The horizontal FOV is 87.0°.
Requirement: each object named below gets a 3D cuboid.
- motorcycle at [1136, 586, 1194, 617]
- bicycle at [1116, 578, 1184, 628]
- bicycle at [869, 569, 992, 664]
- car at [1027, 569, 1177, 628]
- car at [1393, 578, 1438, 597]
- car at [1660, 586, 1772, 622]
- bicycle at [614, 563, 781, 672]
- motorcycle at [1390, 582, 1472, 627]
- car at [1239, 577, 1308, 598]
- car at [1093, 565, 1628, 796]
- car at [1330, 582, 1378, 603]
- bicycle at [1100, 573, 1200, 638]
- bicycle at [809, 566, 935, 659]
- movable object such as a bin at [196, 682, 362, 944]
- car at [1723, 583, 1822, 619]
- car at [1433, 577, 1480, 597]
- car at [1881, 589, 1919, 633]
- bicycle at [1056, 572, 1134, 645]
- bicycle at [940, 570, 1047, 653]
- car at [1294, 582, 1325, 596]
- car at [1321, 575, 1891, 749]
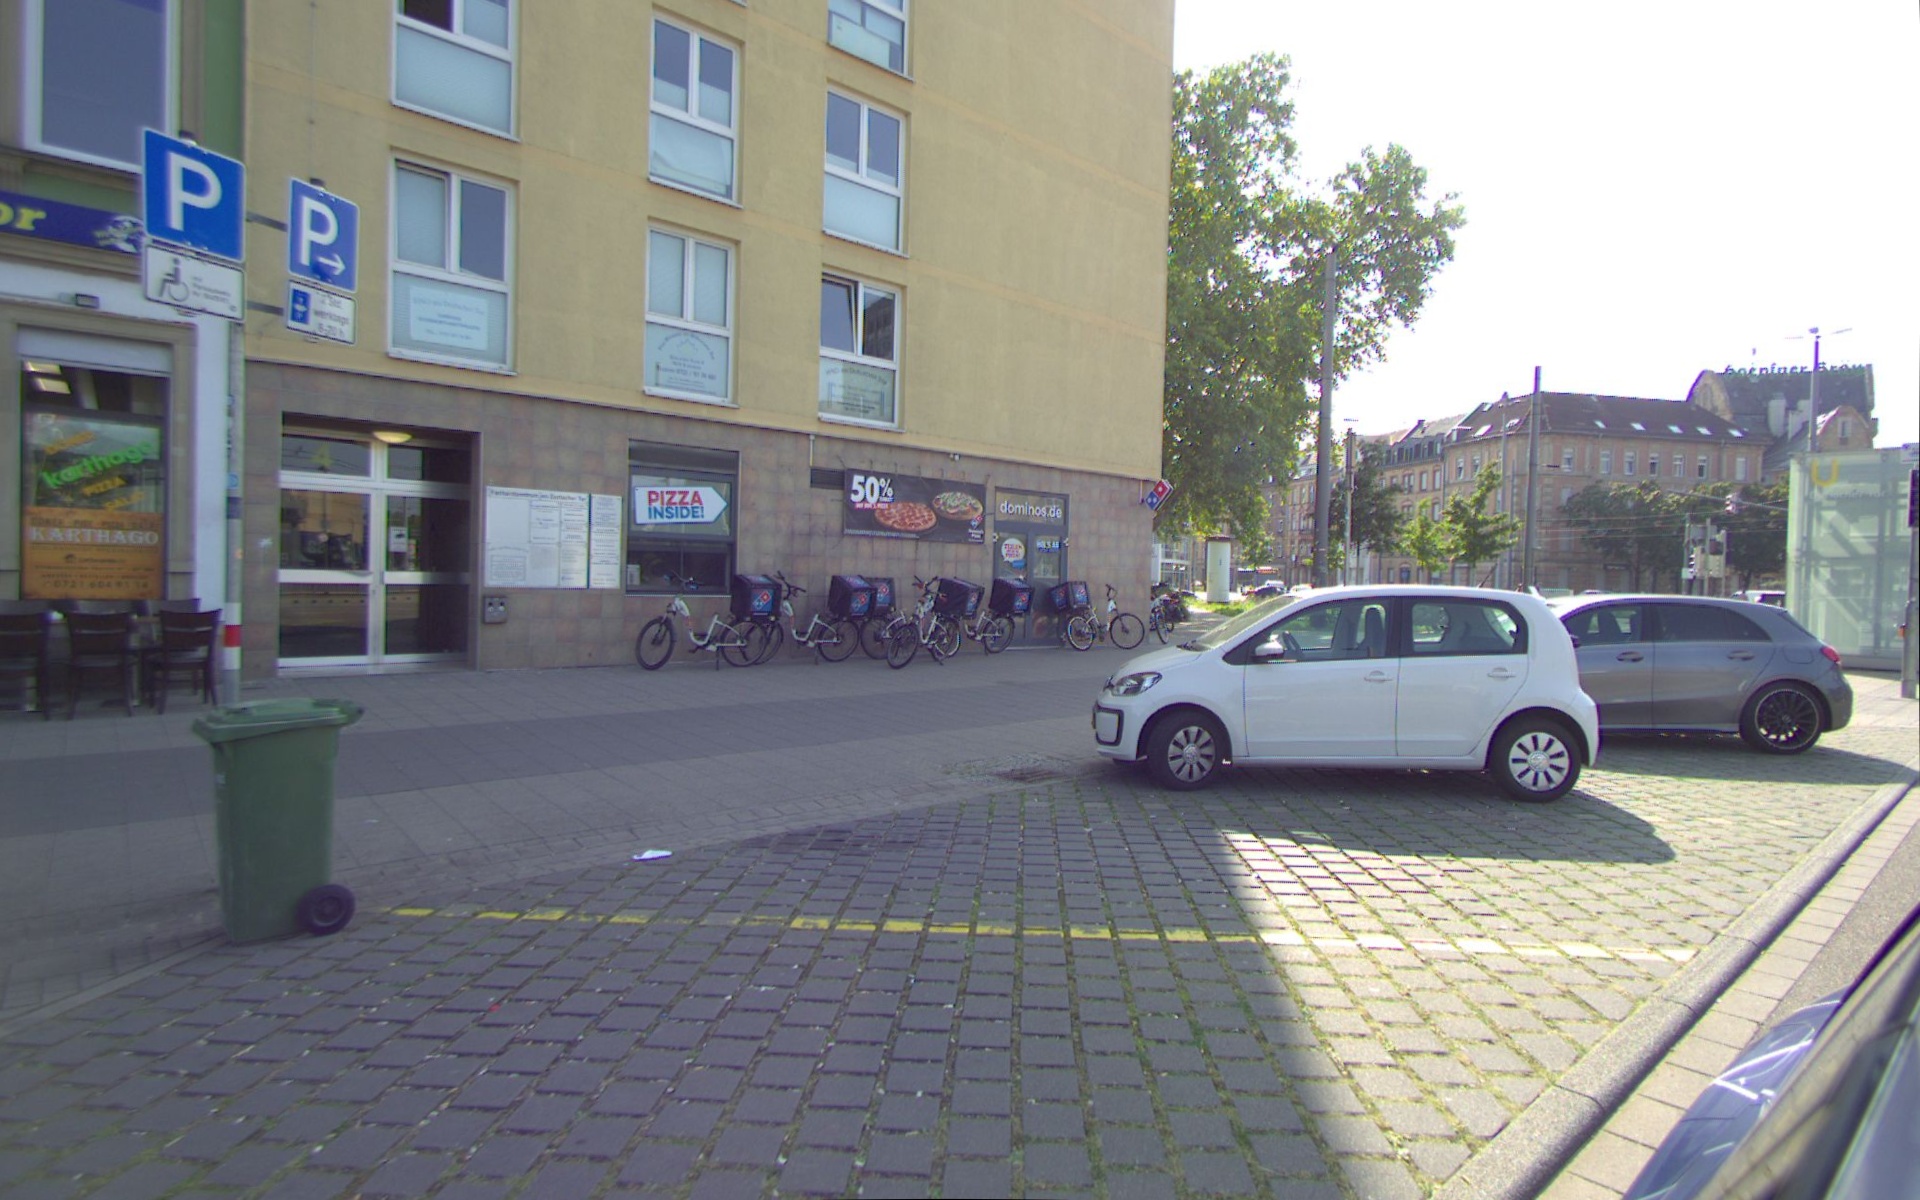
[{"bbox_3d":[7.168,0.051,35.442,1.916,1.014,0.707,1,1,-25],"label":"motorcycle"},{"bbox_3d":[4.973,0.062,26.385,0.523,1.250,2.264,3,2,44],"label":"bicycle"},{"bbox_3d":[-0.394,0.218,14.655,0.602,1.277,1.968,3,2,41],"label":"bicycle"},{"bbox_3d":[3.894,-0.060,27.402,4.120,1.459,1.660,0,2,-40],"label":"car"},{"bbox_3d":[43.667,-1.240,97.085,1.777,1.644,4.297,3,1,-9],"label":"car"},{"bbox_3d":[34.640,0.170,46.490,1.766,1.459,3.912,1,2,-10],"label":"car"},{"bbox_3d":[-3.294,0.200,12.833,1.963,1.277,0.603,0,2,-41],"label":"bicycle"},{"bbox_3d":[12.833,0.126,27.551,2.253,1.161,0.707,1,1,-25],"label":"motorcycle"},{"bbox_3d":[22.748,-0.901,73.485,4.317,1.387,2.000,2,2,2],"label":"car"},{"bbox_3d":[2.783,0.504,7.741,3.469,1.482,1.620,1,1,8],"label":"car"},{"bbox_3d":[30.552,-0.582,78.598,1.766,1.459,3.638,1,2,-10],"label":"car"},{"bbox_3d":[3.897,0.091,20.901,0.659,1.221,2.021,1,2,-40],"label":"bicycle"},{"bbox_3d":[-1.263,0.166,14.923,0.602,1.277,1.968,3,2,41],"label":"bicycle"},{"bbox_3d":[-2.819,0.836,4.183,0.527,0.914,0.491,0,2,-38],"label":"movable object such as a bin"},{"bbox_3d":[49.100,0.024,61.231,1.757,1.910,4.300,3,1,-21],"label":"car"},{"bbox_3d":[43.643,-1.193,89.014,1.709,1.601,3.982,2,1,-7],"label":"car"},{"bbox_3d":[36.905,0.463,37.222,1.958,1.615,4.010,1,2,-18],"label":"car"},{"bbox_3d":[2.490,0.150,18.601,1.608,1.277,0.469,0,2,-42],"label":"bicycle"},{"bbox_3d":[0.563,0.173,16.570,1.817,1.277,0.603,0,2,-42],"label":"bicycle"},{"bbox_3d":[39.298,-1.273,113.885,1.642,1.465,3.788,2,1,-11],"label":"car"},{"bbox_3d":[6.062,0.511,10.043,4.335,1.441,1.844,1,1,8],"label":"car"}]
